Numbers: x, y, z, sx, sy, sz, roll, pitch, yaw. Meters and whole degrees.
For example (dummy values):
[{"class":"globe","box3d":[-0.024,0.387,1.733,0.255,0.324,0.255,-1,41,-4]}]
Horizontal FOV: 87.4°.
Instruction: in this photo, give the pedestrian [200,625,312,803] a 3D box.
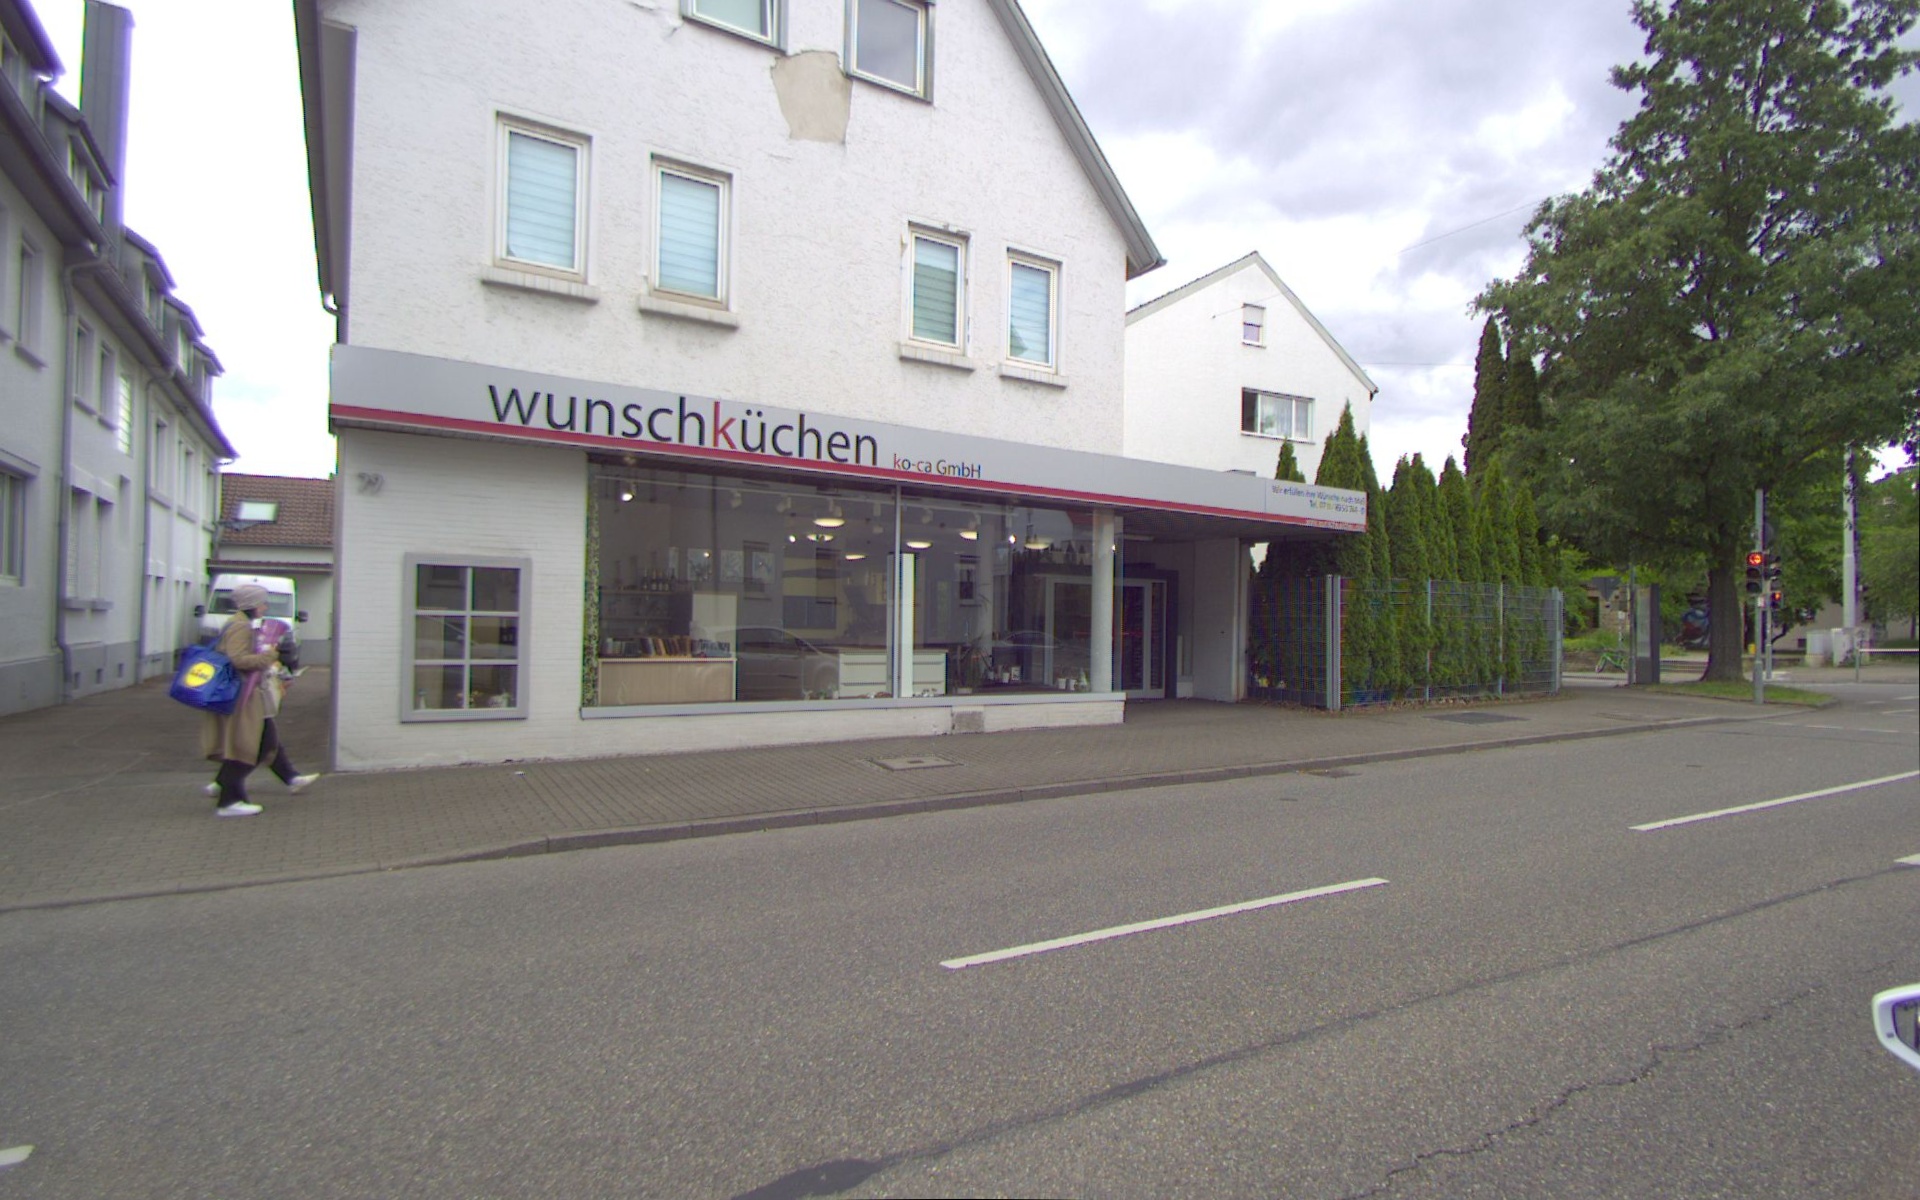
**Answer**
[{"class":"pedestrian","box3d":[-5.490,0.859,7.868,0.647,1.297,0.596,1,1,-31]}]

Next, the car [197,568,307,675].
[{"class":"car","box3d":[-19.058,0.540,27.271,1.938,2.541,5.943,4,-2,-32]}]

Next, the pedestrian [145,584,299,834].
[{"class":"pedestrian","box3d":[-5.231,0.727,7.172,0.784,1.638,0.747,1,2,-31]}]
